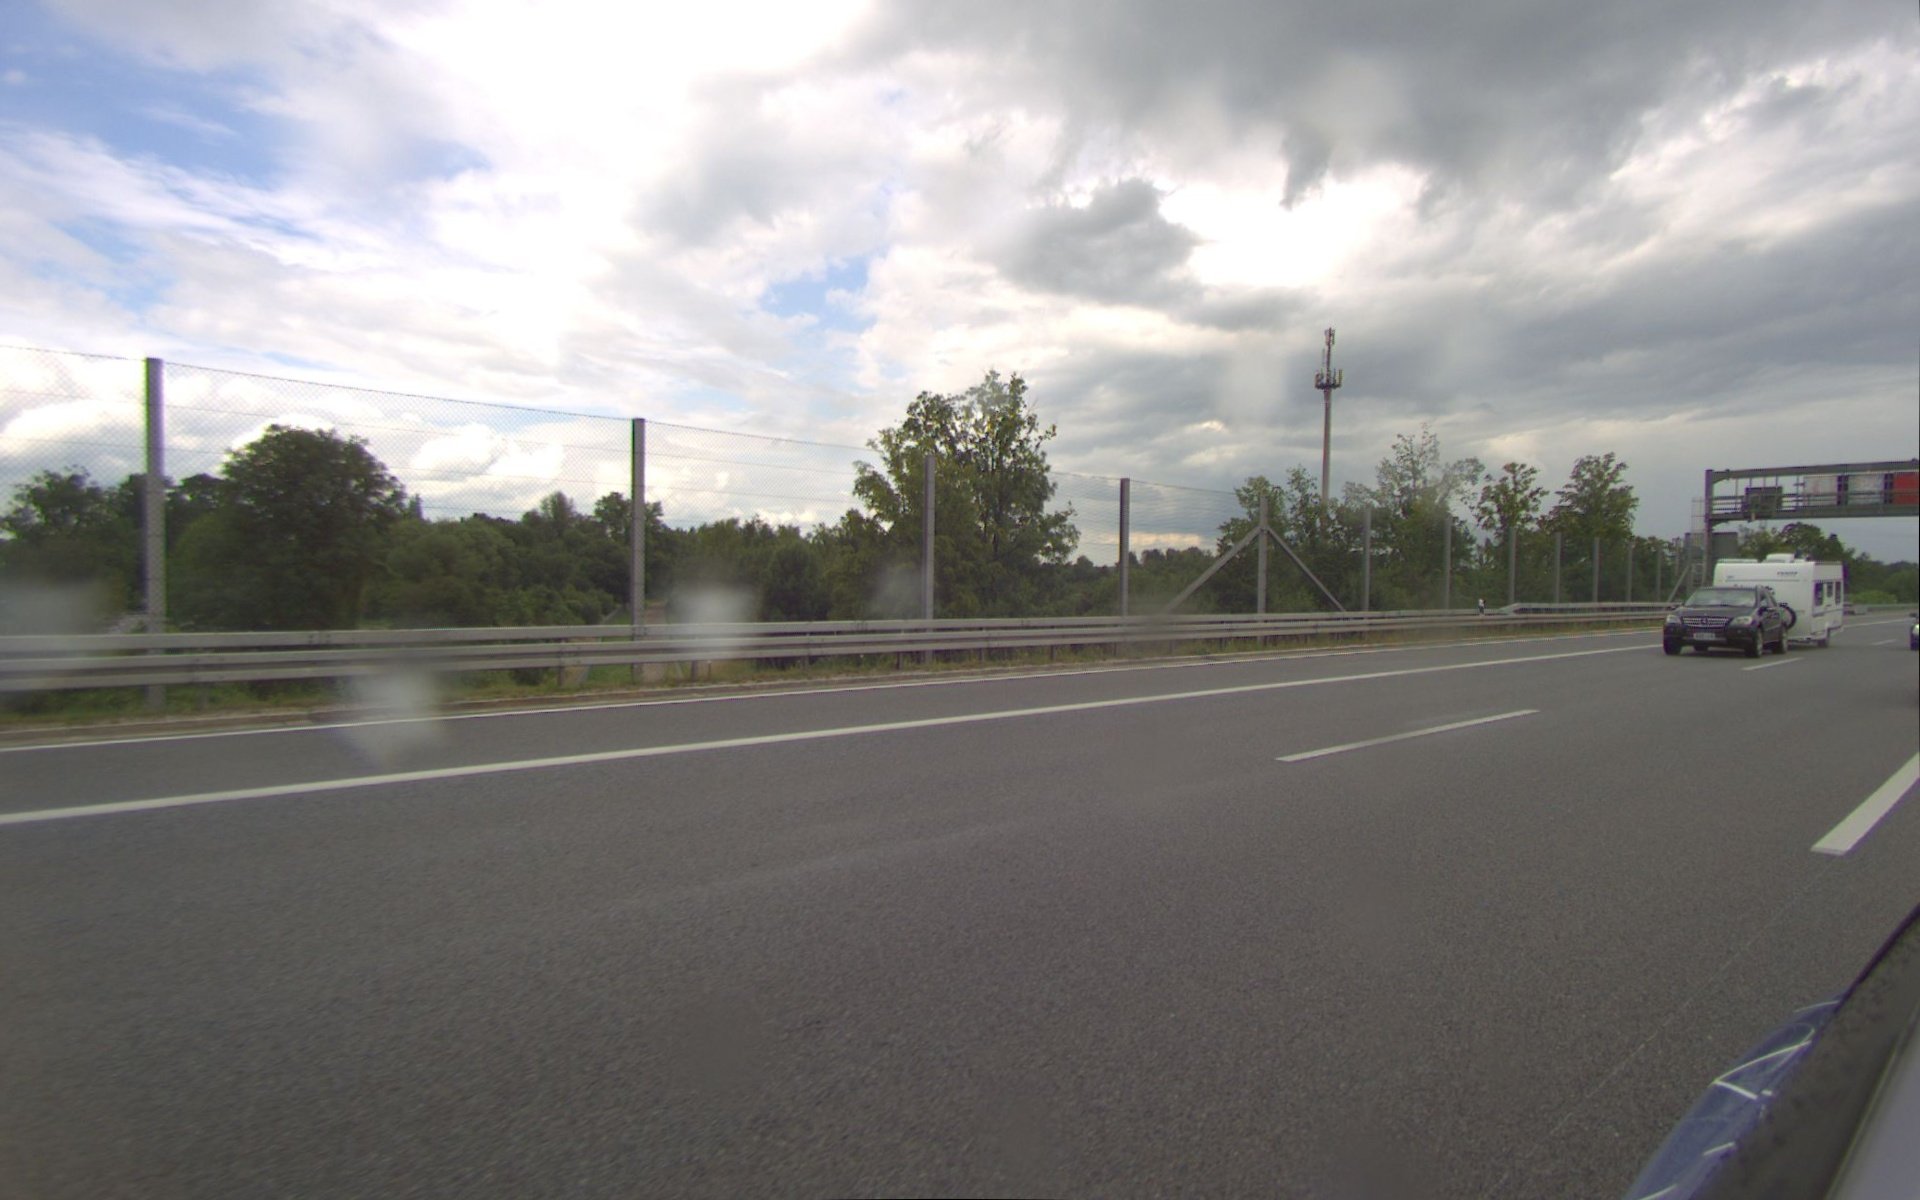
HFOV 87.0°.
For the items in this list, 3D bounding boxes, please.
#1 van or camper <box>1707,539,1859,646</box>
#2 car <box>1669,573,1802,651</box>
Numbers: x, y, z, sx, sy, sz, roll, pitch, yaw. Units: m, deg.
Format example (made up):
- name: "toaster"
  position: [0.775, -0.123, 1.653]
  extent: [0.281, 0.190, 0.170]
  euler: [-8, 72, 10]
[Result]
- name: "van or camper"
  position: [24.059, -0.218, 29.455]
  extent: [7.085, 2.773, 2.387]
  euler: [0, 0, -42]
- name: "car"
  position: [19.707, 0.267, 25.638]
  extent: [4.425, 1.798, 1.923]
  euler: [0, 1, -42]
